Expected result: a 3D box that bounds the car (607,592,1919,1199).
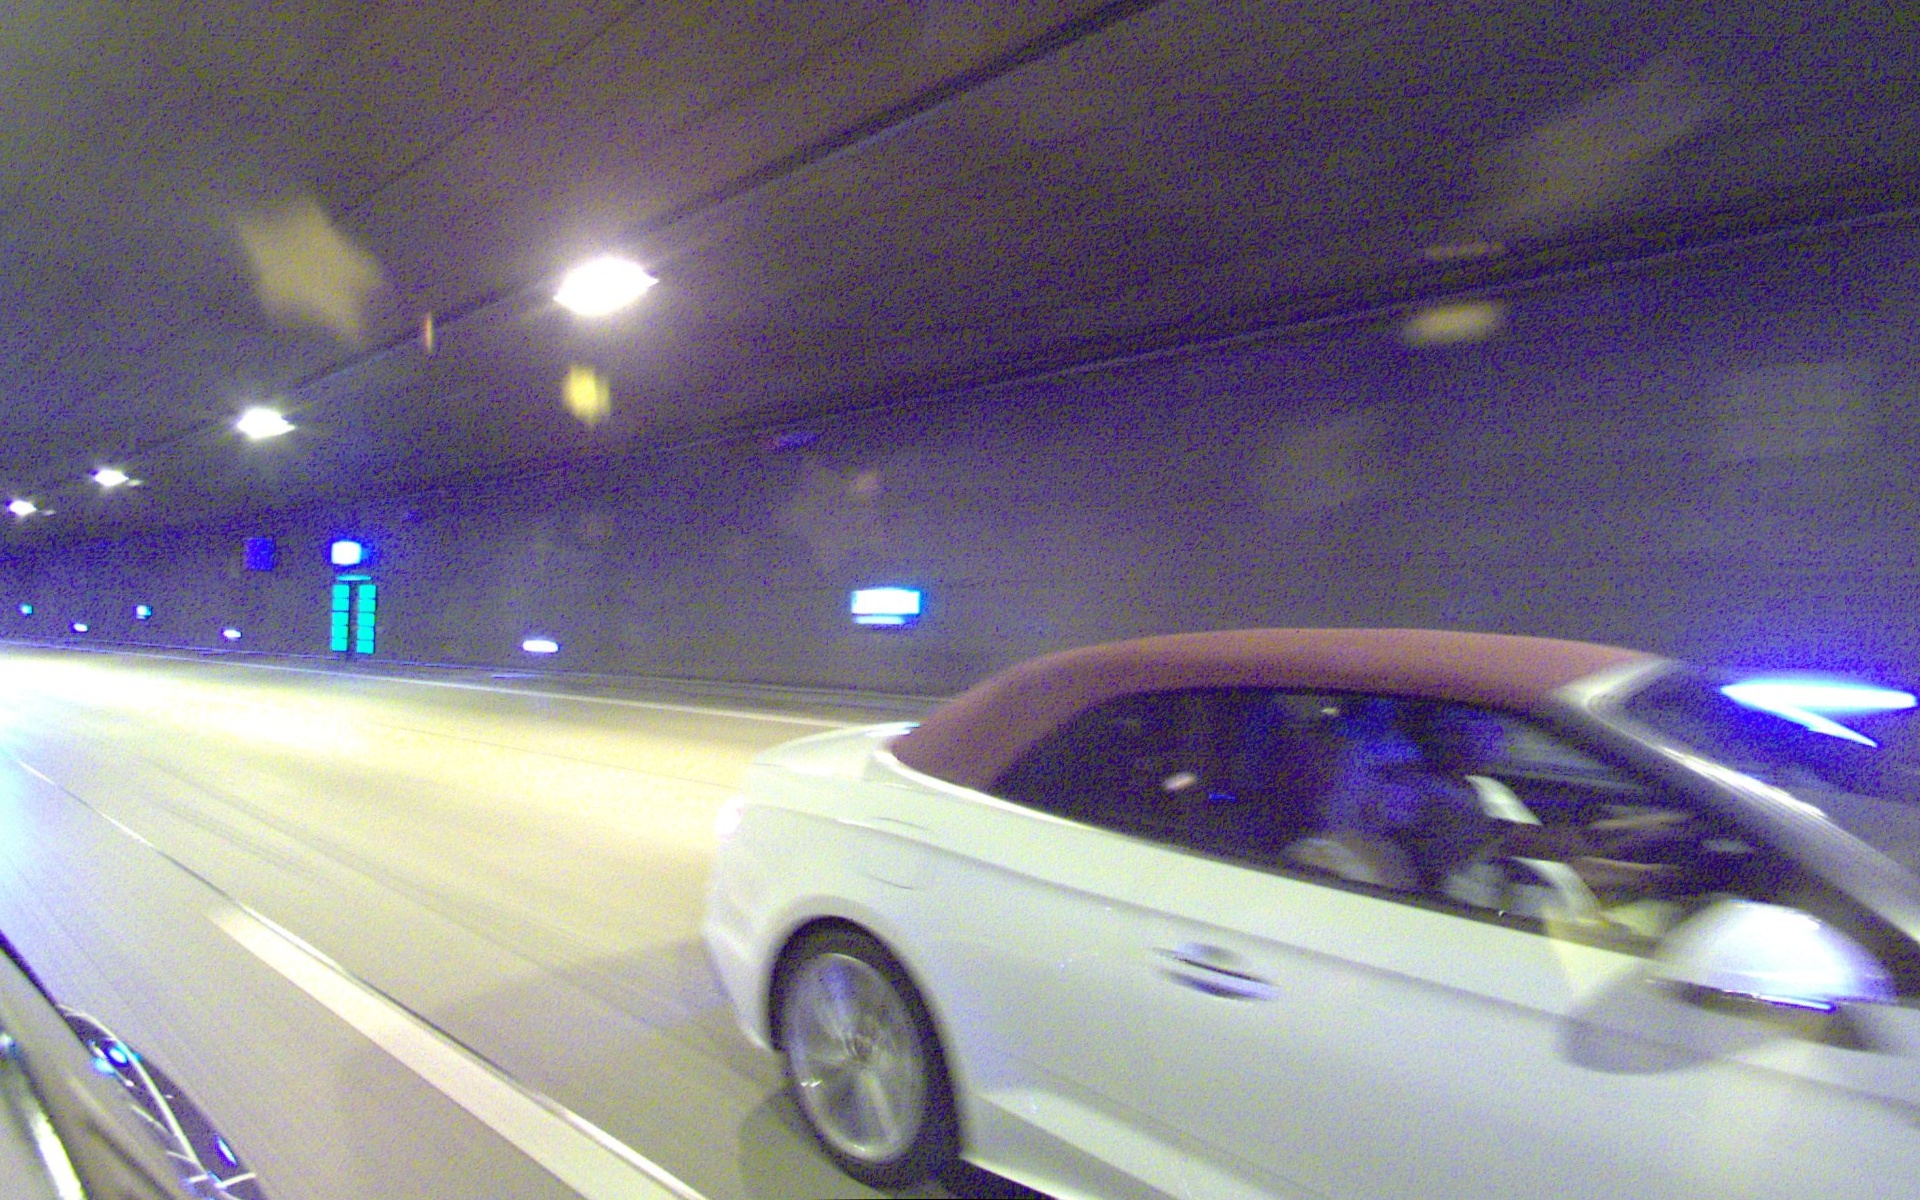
[{"bbox_3d":[1.336,0.714,2.137,5.058,1.429,1.684,-1,-1,41],"label":"car"}]
